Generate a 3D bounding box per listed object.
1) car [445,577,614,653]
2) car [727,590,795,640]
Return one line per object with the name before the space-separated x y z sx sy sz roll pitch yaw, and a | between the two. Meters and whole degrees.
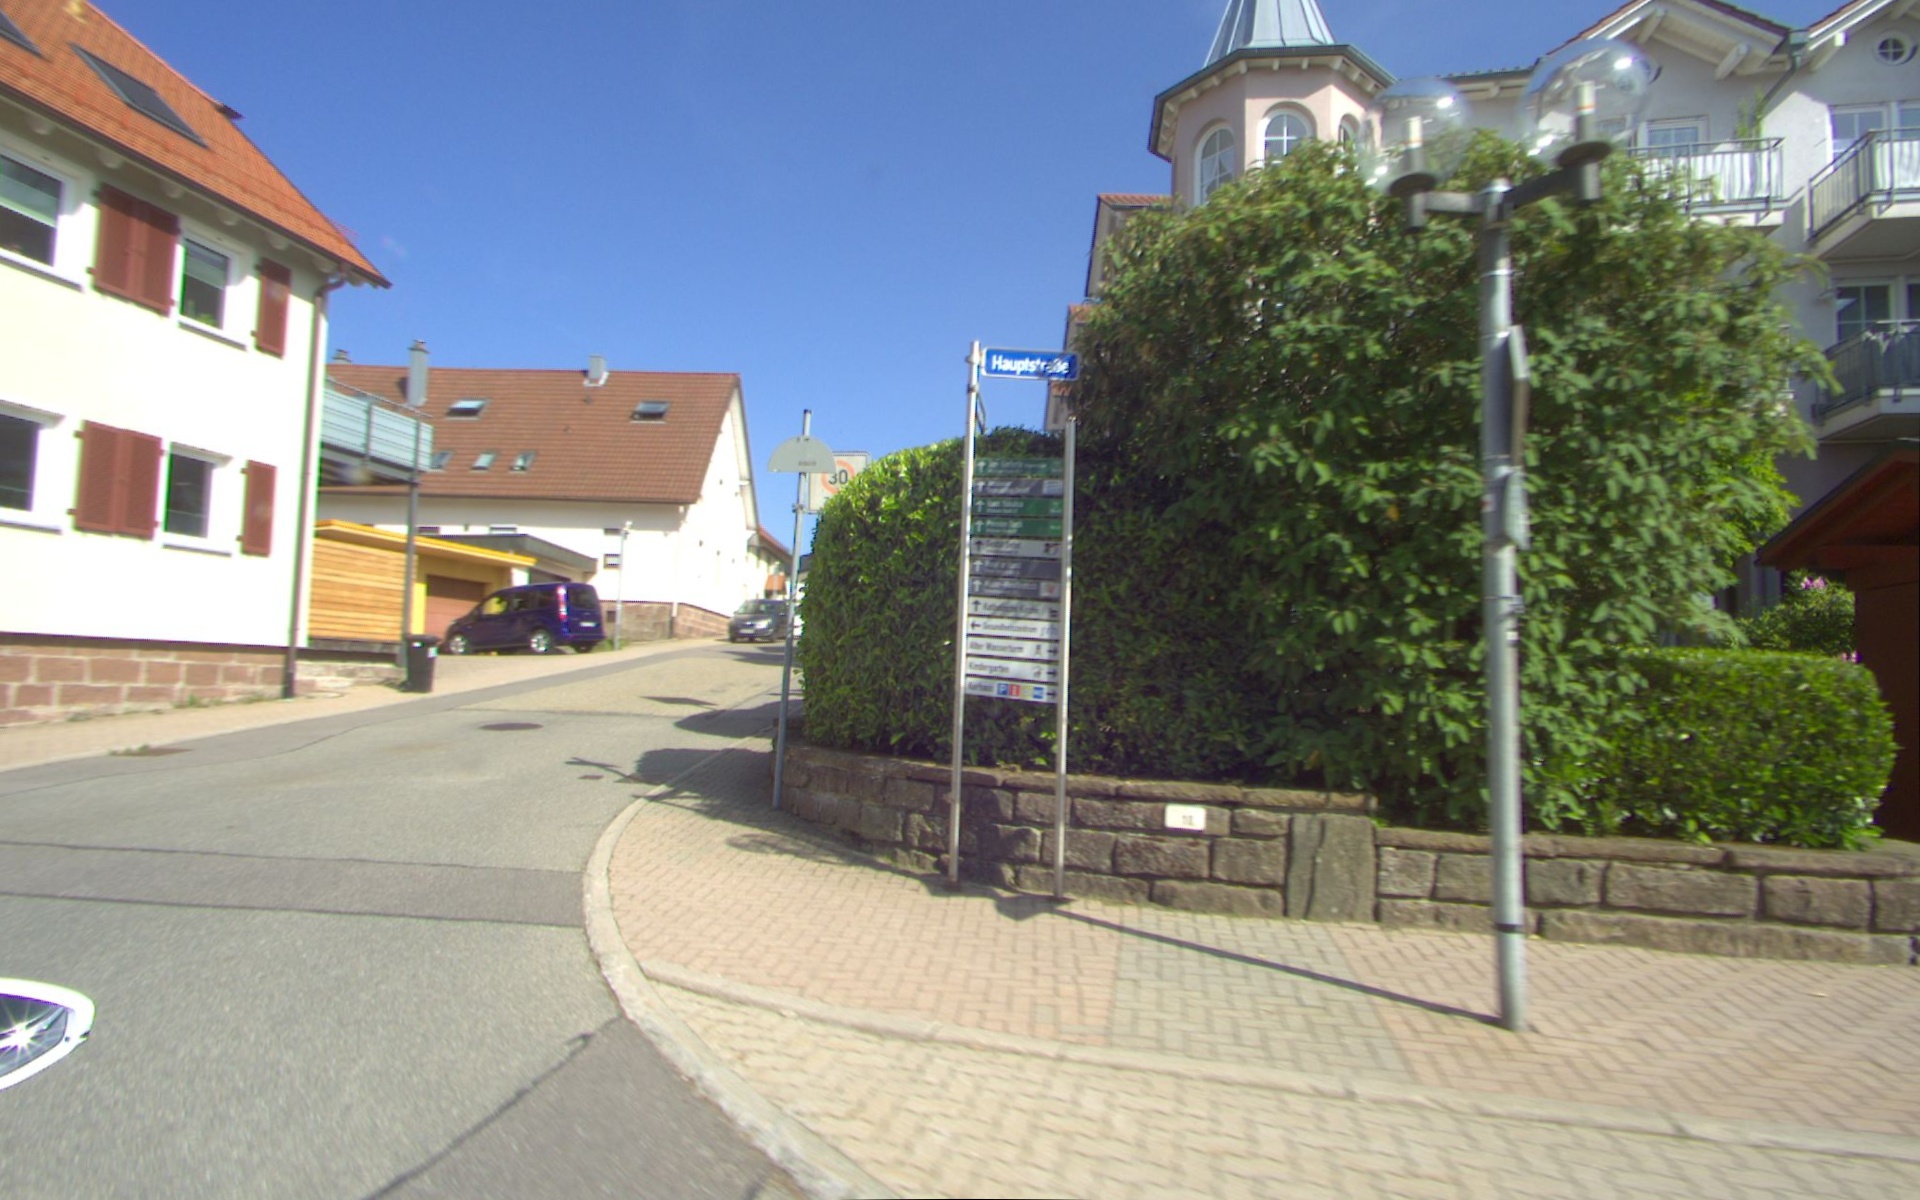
car | -11.409 0.384 26.578 3.927 1.889 1.729 1 0 16
car | -7.296 0.575 37.001 1.590 1.702 3.487 2 -1 3
